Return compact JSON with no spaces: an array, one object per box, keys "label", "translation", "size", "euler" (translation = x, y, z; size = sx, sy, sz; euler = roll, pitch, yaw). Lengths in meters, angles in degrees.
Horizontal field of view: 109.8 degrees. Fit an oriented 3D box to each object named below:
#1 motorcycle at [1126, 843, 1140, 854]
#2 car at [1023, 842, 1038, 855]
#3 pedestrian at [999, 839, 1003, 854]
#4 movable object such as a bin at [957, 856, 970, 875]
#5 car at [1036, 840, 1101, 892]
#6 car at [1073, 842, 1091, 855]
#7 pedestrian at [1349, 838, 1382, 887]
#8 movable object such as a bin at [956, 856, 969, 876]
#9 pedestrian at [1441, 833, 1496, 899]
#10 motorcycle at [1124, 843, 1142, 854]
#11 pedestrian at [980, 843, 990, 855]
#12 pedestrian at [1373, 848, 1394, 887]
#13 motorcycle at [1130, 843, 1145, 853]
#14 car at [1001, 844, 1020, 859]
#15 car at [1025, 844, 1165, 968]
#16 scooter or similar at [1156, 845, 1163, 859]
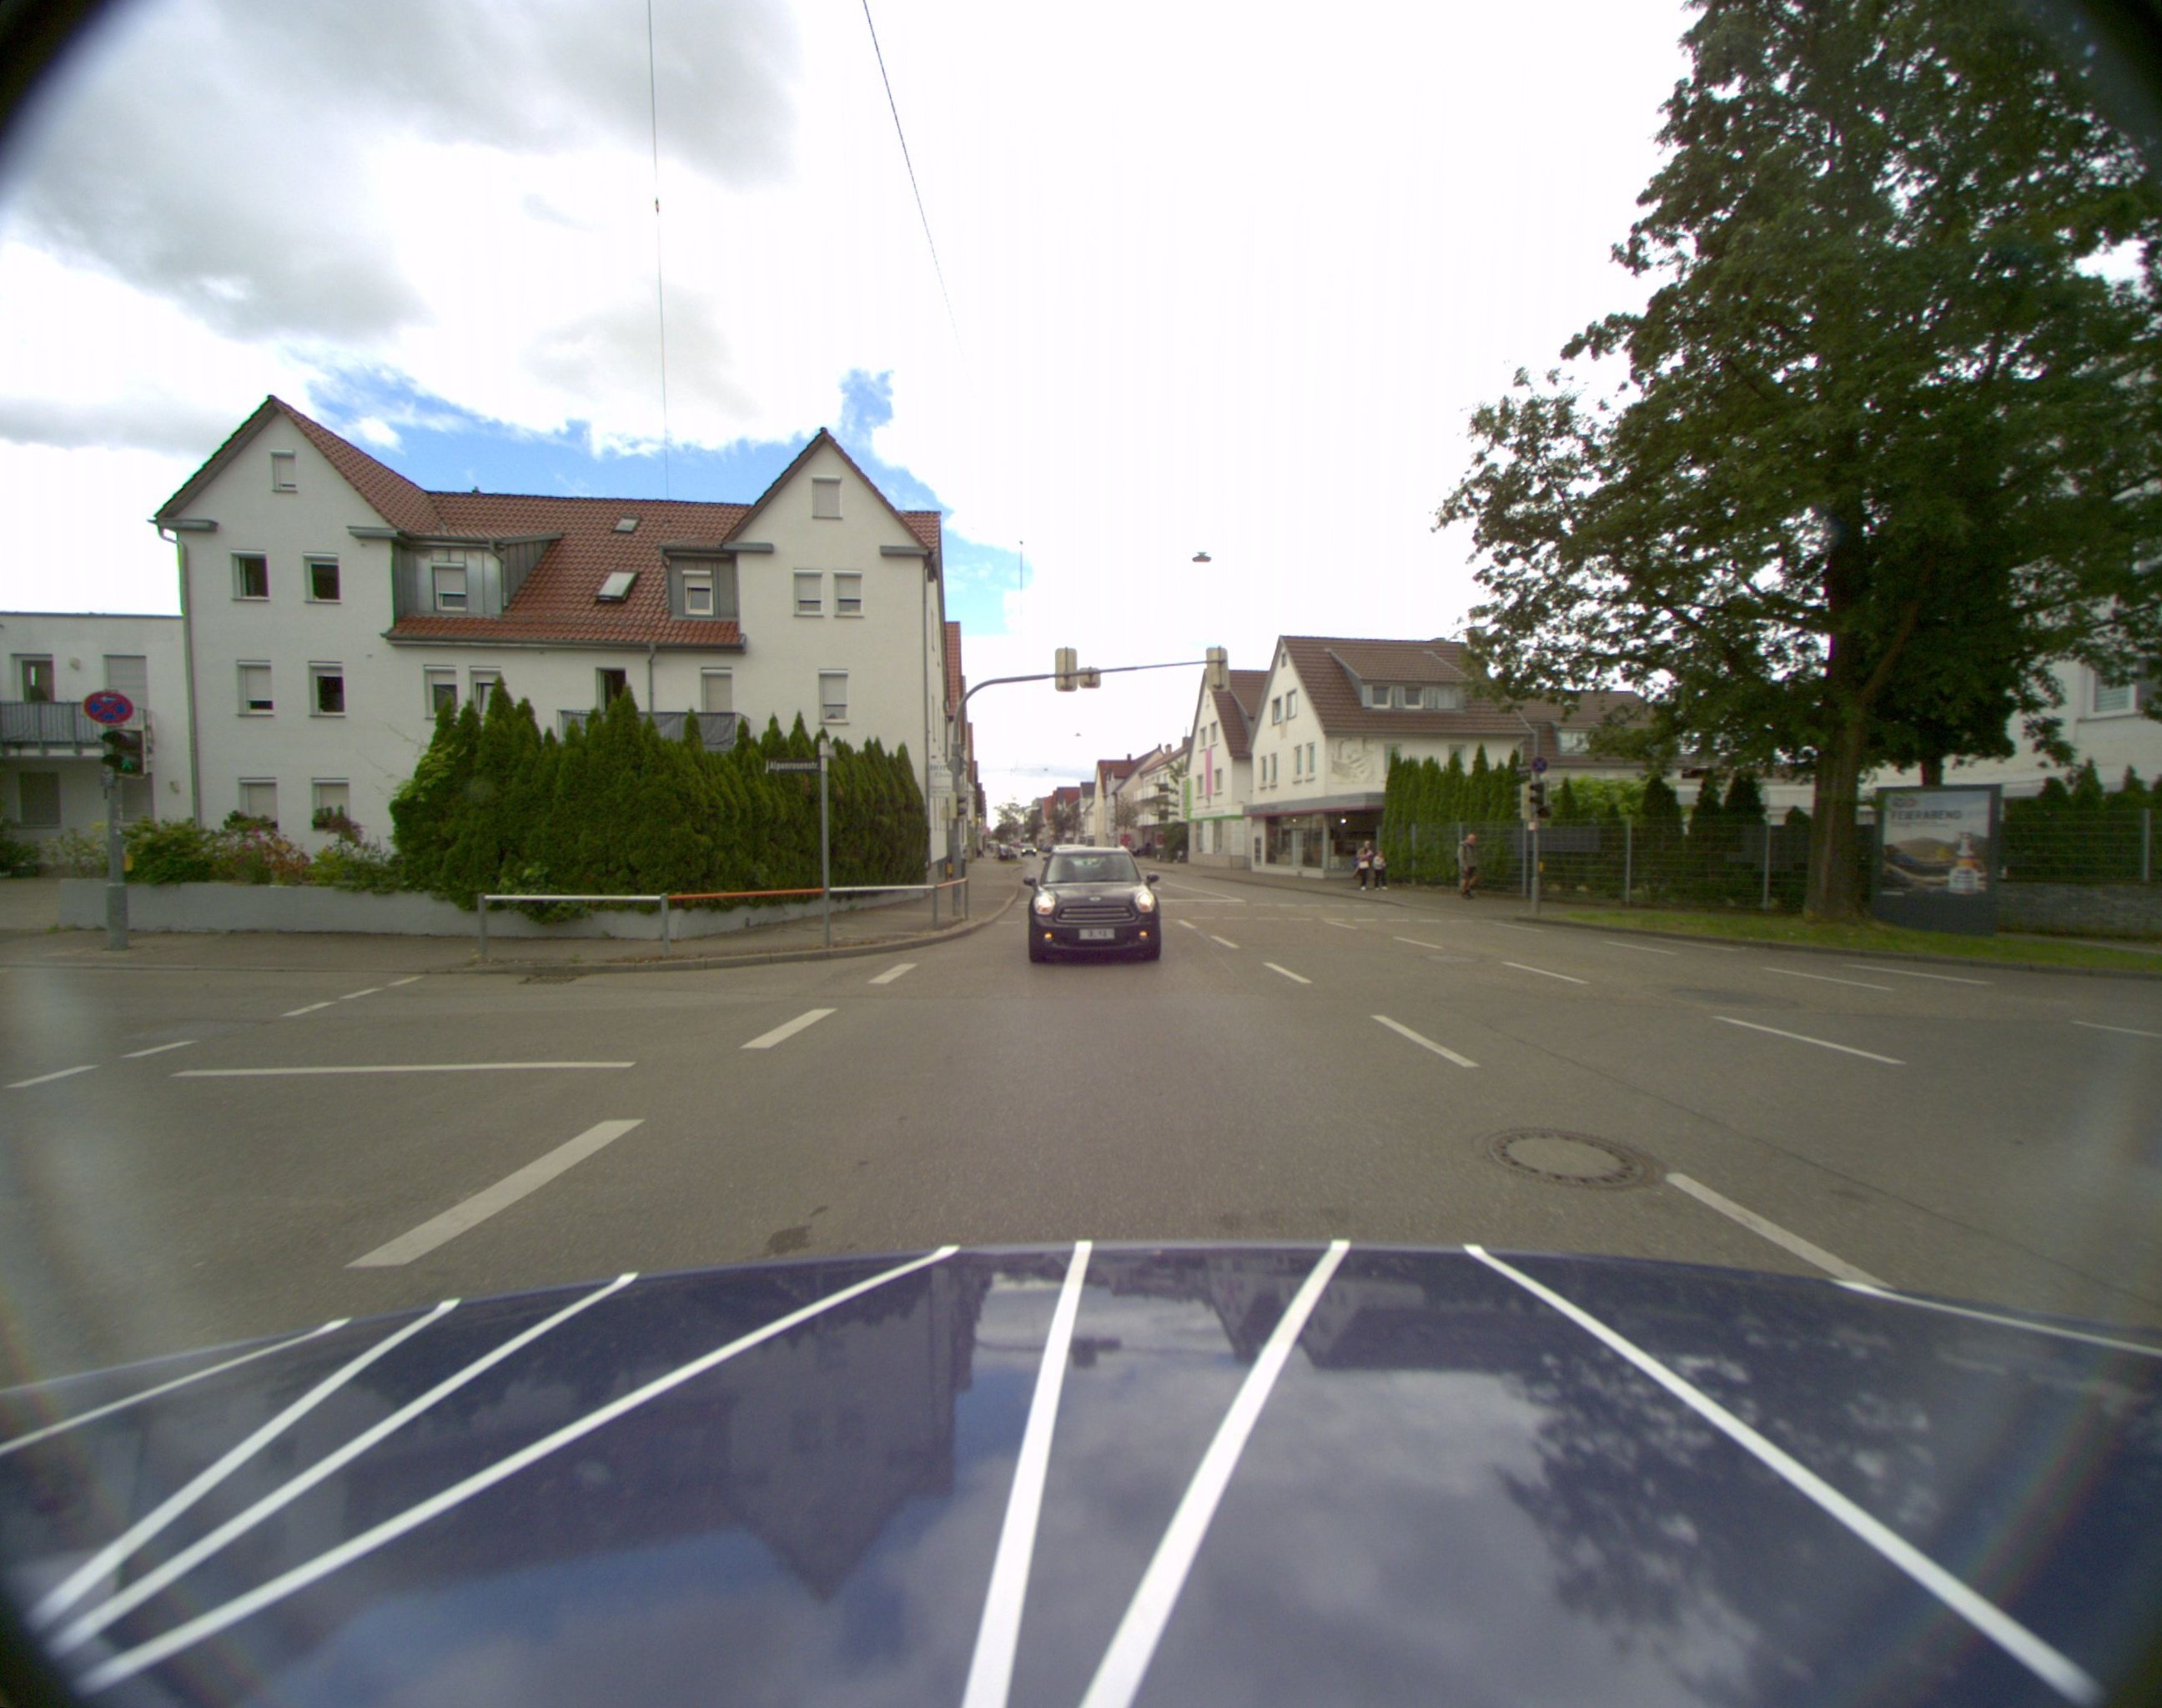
[{"label":"motorcycle","translation":[5.604,-0.607,81.910],"size":[1.515,1.099,0.589],"euler":[-2,2,0]},{"label":"car","translation":[-6.707,-0.760,101.375],"size":[1.847,1.510,3.997],"euler":[-2,2,-5]},{"label":"pedestrian","translation":[-9.177,-0.832,87.197],"size":[0.497,1.744,0.451],"euler":[0,2,-5]},{"label":"movable object such as a bin","translation":[-5.539,0.543,35.839],"size":[0.566,0.898,0.519],"euler":[1,2,-5]},{"label":"car","translation":[-0.540,0.345,27.714],"size":[1.812,1.556,4.612],"euler":[-2,3,-7]},{"label":"car","translation":[0.094,-0.663,91.101],"size":[1.635,1.404,3.996],"euler":[1,1,-9]},{"label":"pedestrian","translation":[9.469,0.277,25.294],"size":[0.642,1.596,0.865],"euler":[-2,2,-16]},{"label":"movable object such as a bin","translation":[-5.488,0.566,35.190],"size":[0.566,0.898,0.519],"euler":[1,2,-5]},{"label":"pedestrian","translation":[10.687,0.311,20.990],"size":[0.823,1.744,1.228],"euler":[-2,2,-5]},{"label":"motorcycle","translation":[5.669,-0.635,82.864],"size":[1.835,1.099,0.504],"euler":[-2,2,-6]},{"label":"pedestrian","translation":[-10.988,-0.573,86.733],"size":[0.982,1.272,0.666],"euler":[0,2,7]},{"label":"pedestrian","translation":[10.042,0.430,25.258],"size":[0.383,1.255,0.549],"euler":[-2,2,-15]},{"label":"motorcycle","translation":[6.030,-0.658,81.278],"size":[1.430,1.017,0.525],"euler":[-2,2,-6]},{"label":"car","translation":[-7.706,-0.327,83.040],"size":[1.847,1.510,3.996],"euler":[-2,2,-7]},{"label":"car","translation":[0.031,0.625,11.439],"size":[1.694,1.507,3.998],"euler":[-1,1,-5]},{"label":"scooter or similar","translation":[6.551,-0.199,63.562],"size":[0.465,1.117,1.828],"euler":[-1,1,9]}]
